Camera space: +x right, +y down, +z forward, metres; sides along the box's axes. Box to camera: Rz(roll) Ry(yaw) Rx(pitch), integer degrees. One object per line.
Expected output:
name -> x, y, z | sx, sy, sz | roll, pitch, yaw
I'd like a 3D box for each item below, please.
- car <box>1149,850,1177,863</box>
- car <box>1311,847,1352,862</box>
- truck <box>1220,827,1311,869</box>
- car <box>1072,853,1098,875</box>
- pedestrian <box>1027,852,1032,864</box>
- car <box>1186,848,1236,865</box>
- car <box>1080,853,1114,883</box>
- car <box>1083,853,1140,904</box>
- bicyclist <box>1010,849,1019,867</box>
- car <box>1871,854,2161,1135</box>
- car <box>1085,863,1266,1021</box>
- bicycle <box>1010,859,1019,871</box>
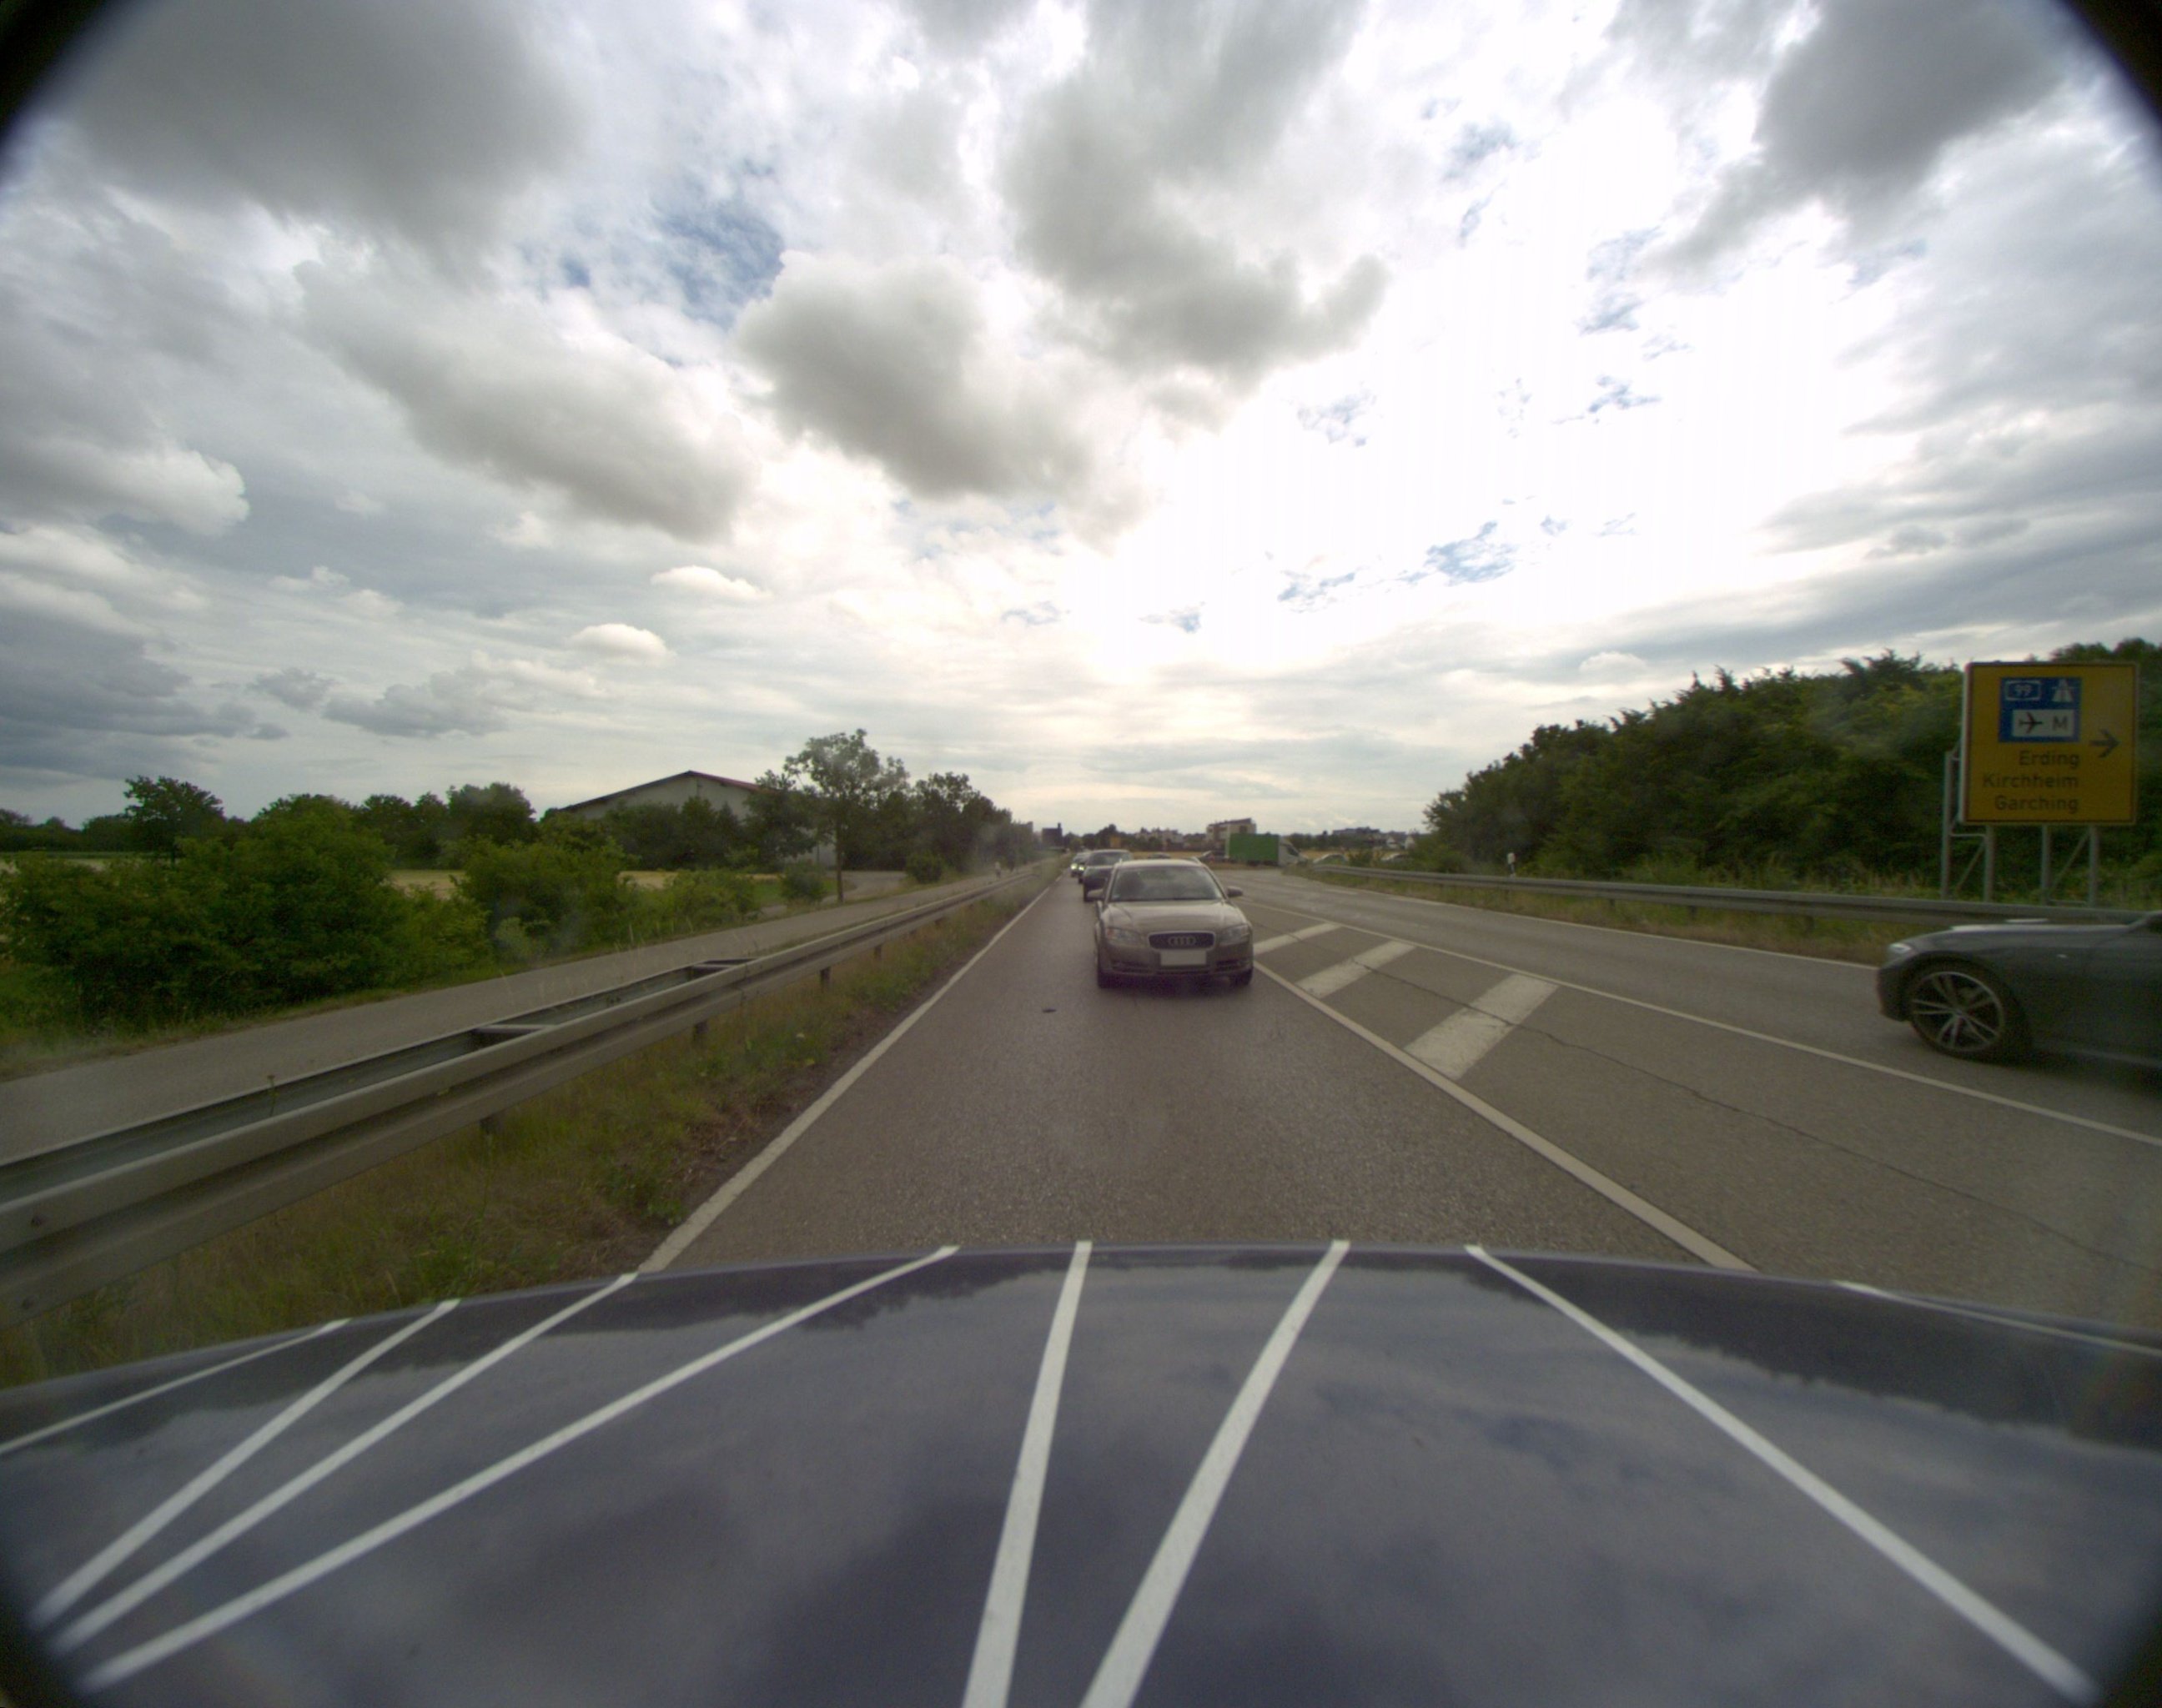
car -> 9.544, 0.285, 89.091 | 2.001, 1.481, 3.833 | -1, 1, -15
car -> 25.883, 0.005, 78.537 | 3.714, 1.490, 1.731 | -1, 1, 7
truck -> 17.018, -0.578, 70.392 | 7.599, 3.542, 2.933 | -2, 1, 2
car -> 0.251, 0.665, 54.201 | 1.730, 1.436, 4.204 | -2, 0, 0
pedestrian -> -6.969, 0.523, 102.666 | 0.592, 1.512, 0.501 | -2, 1, 7
car -> 13.625, 0.288, 79.628 | 4.816, 1.680, 1.999 | -1, 1, -4
car -> 0.818, 0.718, 41.668 | 1.730, 1.478, 4.204 | -2, 0, 0
car -> 0.956, 0.772, 25.827 | 1.730, 1.534, 4.204 | -2, 0, 0
bicyclist -> -5.948, 0.342, 67.843 | 0.640, 1.573, 0.969 | -1, 1, 0
car -> 6.596, 0.754, 3.242 | 1.804, 1.442, 4.445 | -1, 1, -1
car -> 0.942, 0.889, 9.583 | 1.730, 1.436, 4.204 | -2, 0, 0
bicycle -> -5.944, 0.966, 67.873 | 0.640, 0.972, 2.072 | -1, 1, 0
